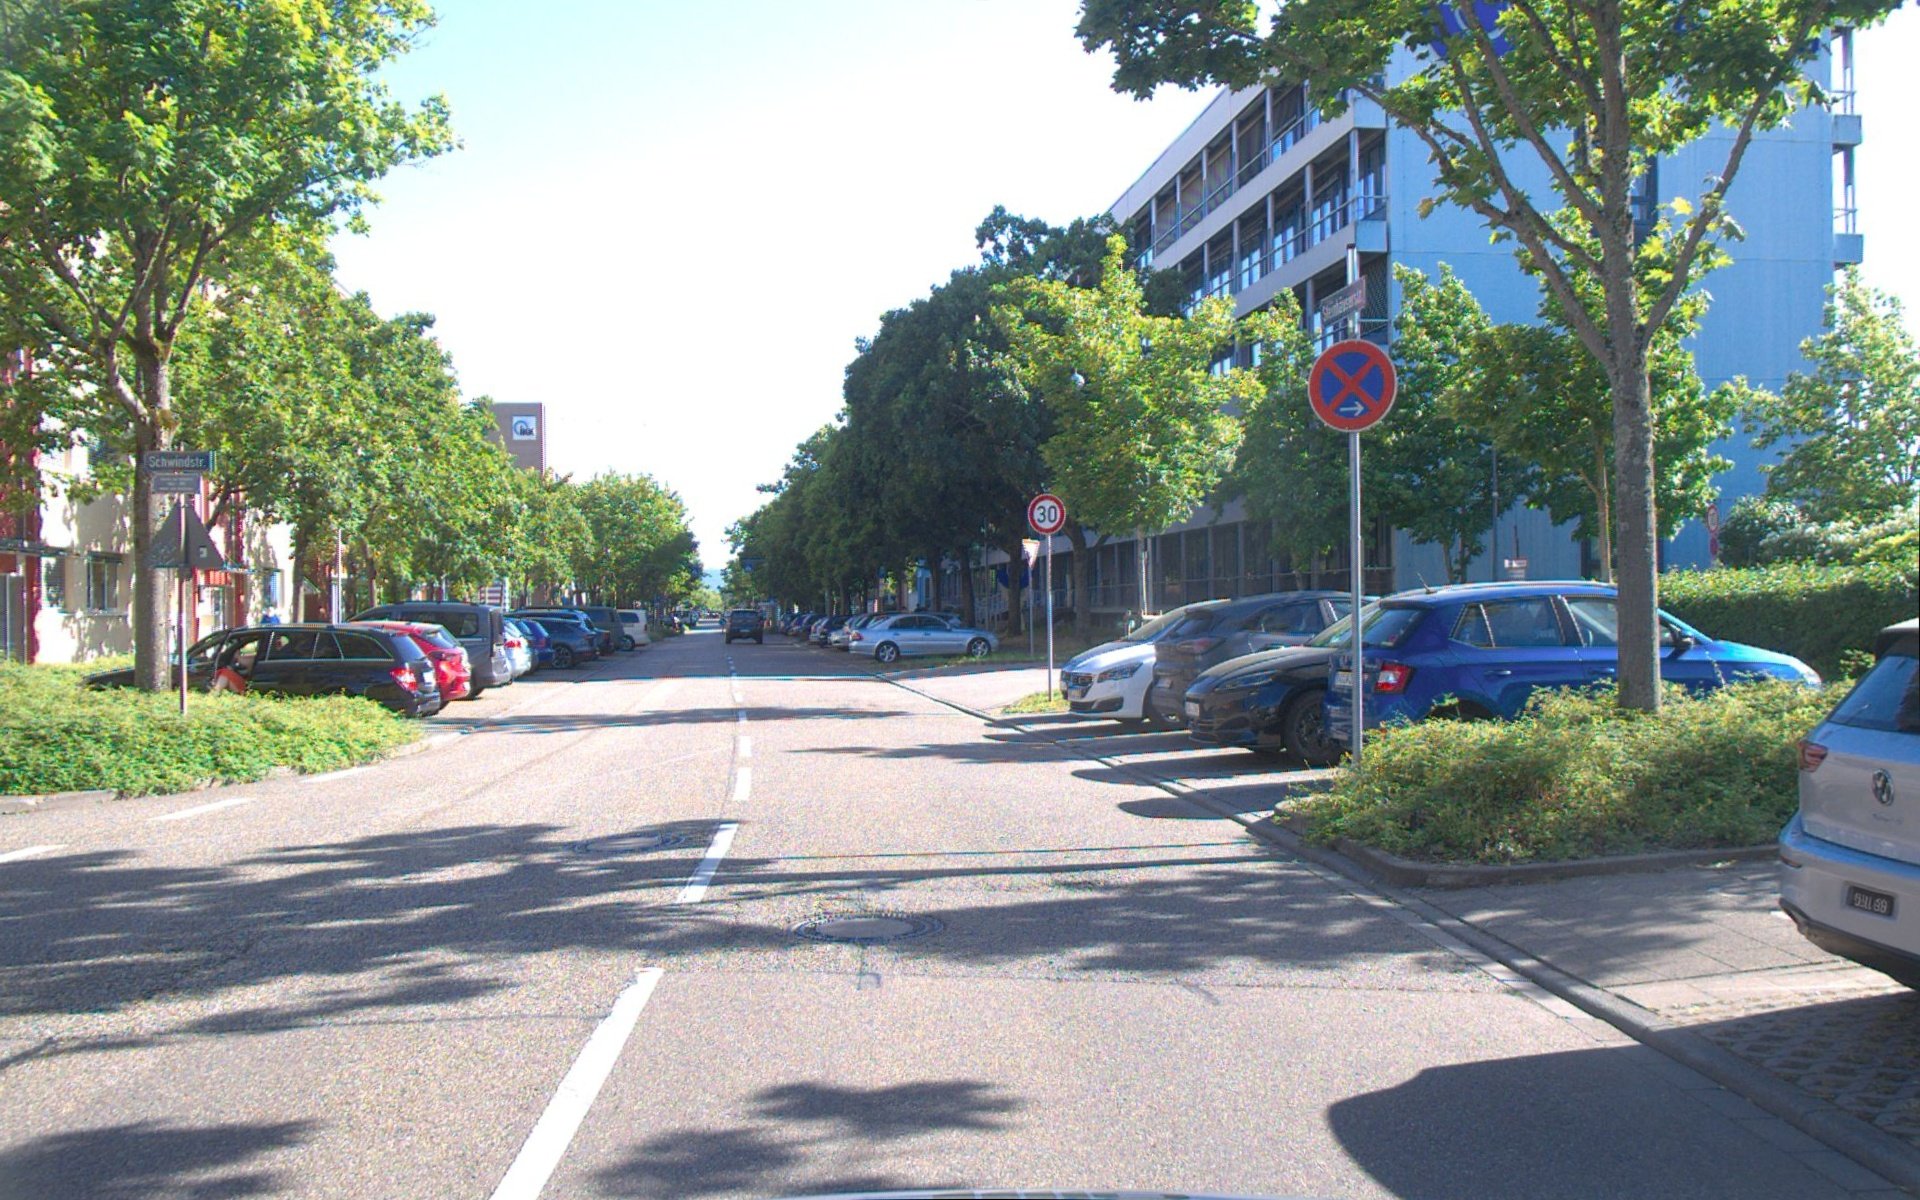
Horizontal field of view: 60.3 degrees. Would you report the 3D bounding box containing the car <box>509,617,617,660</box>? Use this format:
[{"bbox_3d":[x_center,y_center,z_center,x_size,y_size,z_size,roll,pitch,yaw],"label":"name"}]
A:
[{"bbox_3d":[-14.029,1.361,58.494,3.663,1.452,1.718,1,-1,-15],"label":"car"}]

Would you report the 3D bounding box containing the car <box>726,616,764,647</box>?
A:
[{"bbox_3d":[-11.683,1.700,89.594,1.956,1.669,3.992,1,-1,-8],"label":"car"}]

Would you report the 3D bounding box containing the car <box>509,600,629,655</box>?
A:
[{"bbox_3d":[-15.510,1.084,65.827,4.402,2.126,2.080,1,-1,-7],"label":"car"}]

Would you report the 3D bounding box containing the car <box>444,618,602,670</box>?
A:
[{"bbox_3d":[-12.806,1.294,48.704,4.323,1.452,1.768,1,-1,-11],"label":"car"}]

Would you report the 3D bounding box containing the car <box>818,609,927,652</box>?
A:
[{"bbox_3d":[-3.617,1.242,67.821,4.208,1.519,1.999,-3,0,-10],"label":"car"}]

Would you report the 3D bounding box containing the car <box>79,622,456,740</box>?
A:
[{"bbox_3d":[-8.940,1.031,21.649,4.179,1.448,1.737,1,-1,-5],"label":"car"}]

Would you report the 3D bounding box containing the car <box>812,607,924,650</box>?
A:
[{"bbox_3d":[-3.916,1.196,70.107,4.507,1.519,1.759,-4,0,-9],"label":"car"}]

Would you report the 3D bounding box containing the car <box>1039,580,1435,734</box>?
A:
[{"bbox_3d":[3.449,0.685,20.894,4.474,1.541,1.974,-4,-1,-15],"label":"car"}]

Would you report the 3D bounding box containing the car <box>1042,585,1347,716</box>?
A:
[{"bbox_3d":[3.301,0.696,23.507,3.882,1.541,1.695,-4,-1,-15],"label":"car"}]

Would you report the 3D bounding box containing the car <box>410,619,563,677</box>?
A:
[{"bbox_3d":[-12.429,1.252,43.603,3.657,1.452,1.837,1,-1,-10],"label":"car"}]

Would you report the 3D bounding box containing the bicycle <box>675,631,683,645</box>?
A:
[{"bbox_3d":[-23.021,3.110,135.617,0.522,1.091,1.298,-1,0,-5],"label":"bicycle"}]

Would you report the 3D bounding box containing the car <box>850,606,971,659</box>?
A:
[{"bbox_3d":[-1.619,1.037,53.602,3.763,1.472,1.920,-3,0,-6],"label":"car"}]

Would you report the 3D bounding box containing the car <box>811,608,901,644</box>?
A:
[{"bbox_3d":[-4.763,1.196,75.719,3.898,1.444,1.706,-3,0,-11],"label":"car"}]

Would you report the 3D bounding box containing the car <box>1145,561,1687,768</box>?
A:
[{"bbox_3d":[4.245,0.581,15.851,4.465,1.541,2.154,-4,-1,-8],"label":"car"}]

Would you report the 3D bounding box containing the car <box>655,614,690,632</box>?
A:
[{"bbox_3d":[-34.510,2.730,198.781,3.909,2.049,1.998,-2,-1,-5],"label":"car"}]

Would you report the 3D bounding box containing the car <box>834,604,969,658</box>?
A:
[{"bbox_3d":[-2.005,1.024,55.927,4.427,1.569,1.920,-3,0,-5],"label":"car"}]

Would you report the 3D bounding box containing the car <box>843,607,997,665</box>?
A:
[{"bbox_3d":[-1.250,1.090,50.681,4.492,1.501,1.744,-3,0,-8],"label":"car"}]

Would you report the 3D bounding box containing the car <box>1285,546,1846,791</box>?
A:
[{"bbox_3d":[4.713,0.511,13.179,3.734,1.473,1.742,-5,-1,-7],"label":"car"}]

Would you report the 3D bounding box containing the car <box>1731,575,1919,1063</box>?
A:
[{"bbox_3d":[4.855,0.505,5.209,4.008,1.454,1.642,-5,-1,-2],"label":"car"}]

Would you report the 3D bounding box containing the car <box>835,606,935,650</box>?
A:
[{"bbox_3d":[-2.978,1.103,65.542,3.678,1.519,1.612,-3,0,-13],"label":"car"}]

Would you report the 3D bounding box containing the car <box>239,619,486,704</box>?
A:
[{"bbox_3d":[-10.500,1.074,29.304,3.819,1.448,1.736,1,-1,-8],"label":"car"}]

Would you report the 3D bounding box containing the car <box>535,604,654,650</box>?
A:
[{"bbox_3d":[-16.695,1.238,75.779,5.160,2.001,1.939,1,-1,-9],"label":"car"}]

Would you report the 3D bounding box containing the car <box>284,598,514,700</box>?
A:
[{"bbox_3d":[-10.535,0.914,31.310,3.819,1.843,1.782,1,-1,-8],"label":"car"}]

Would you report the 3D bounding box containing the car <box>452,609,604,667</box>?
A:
[{"bbox_3d":[-13.345,1.169,51.290,4.235,1.747,1.961,1,-1,-4],"label":"car"}]

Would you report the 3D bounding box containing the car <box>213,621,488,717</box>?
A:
[{"bbox_3d":[-9.660,1.090,26.483,3.819,1.448,1.736,1,-1,-8],"label":"car"}]

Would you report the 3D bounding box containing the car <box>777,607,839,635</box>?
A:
[{"bbox_3d":[-11.032,1.520,119.711,4.274,1.733,1.807,-3,0,-12],"label":"car"}]

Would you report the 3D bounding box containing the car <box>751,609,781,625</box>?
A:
[{"bbox_3d":[-26.039,2.260,221.734,3.915,2.049,1.995,-1,-1,-10],"label":"car"}]

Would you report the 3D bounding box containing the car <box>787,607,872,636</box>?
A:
[{"bbox_3d":[-7.693,1.285,97.362,4.738,1.444,2.027,-3,0,-11],"label":"car"}]

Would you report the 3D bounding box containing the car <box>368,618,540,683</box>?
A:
[{"bbox_3d":[-11.794,1.172,38.747,3.661,1.472,1.854,1,-1,-12],"label":"car"}]

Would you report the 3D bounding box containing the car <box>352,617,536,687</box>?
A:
[{"bbox_3d":[-11.292,1.131,36.442,3.661,1.472,1.870,1,-1,-12],"label":"car"}]

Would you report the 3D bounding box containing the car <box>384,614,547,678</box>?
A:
[{"bbox_3d":[-12.279,1.148,41.267,3.657,1.535,1.855,1,-1,-10],"label":"car"}]

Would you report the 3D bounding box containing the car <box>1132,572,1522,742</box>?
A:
[{"bbox_3d":[4.008,0.609,18.391,3.803,1.541,1.747,-4,-1,-8],"label":"car"}]

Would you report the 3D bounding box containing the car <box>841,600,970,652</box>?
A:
[{"bbox_3d":[-1.941,0.915,58.313,4.426,1.569,1.920,-3,0,-4],"label":"car"}]
